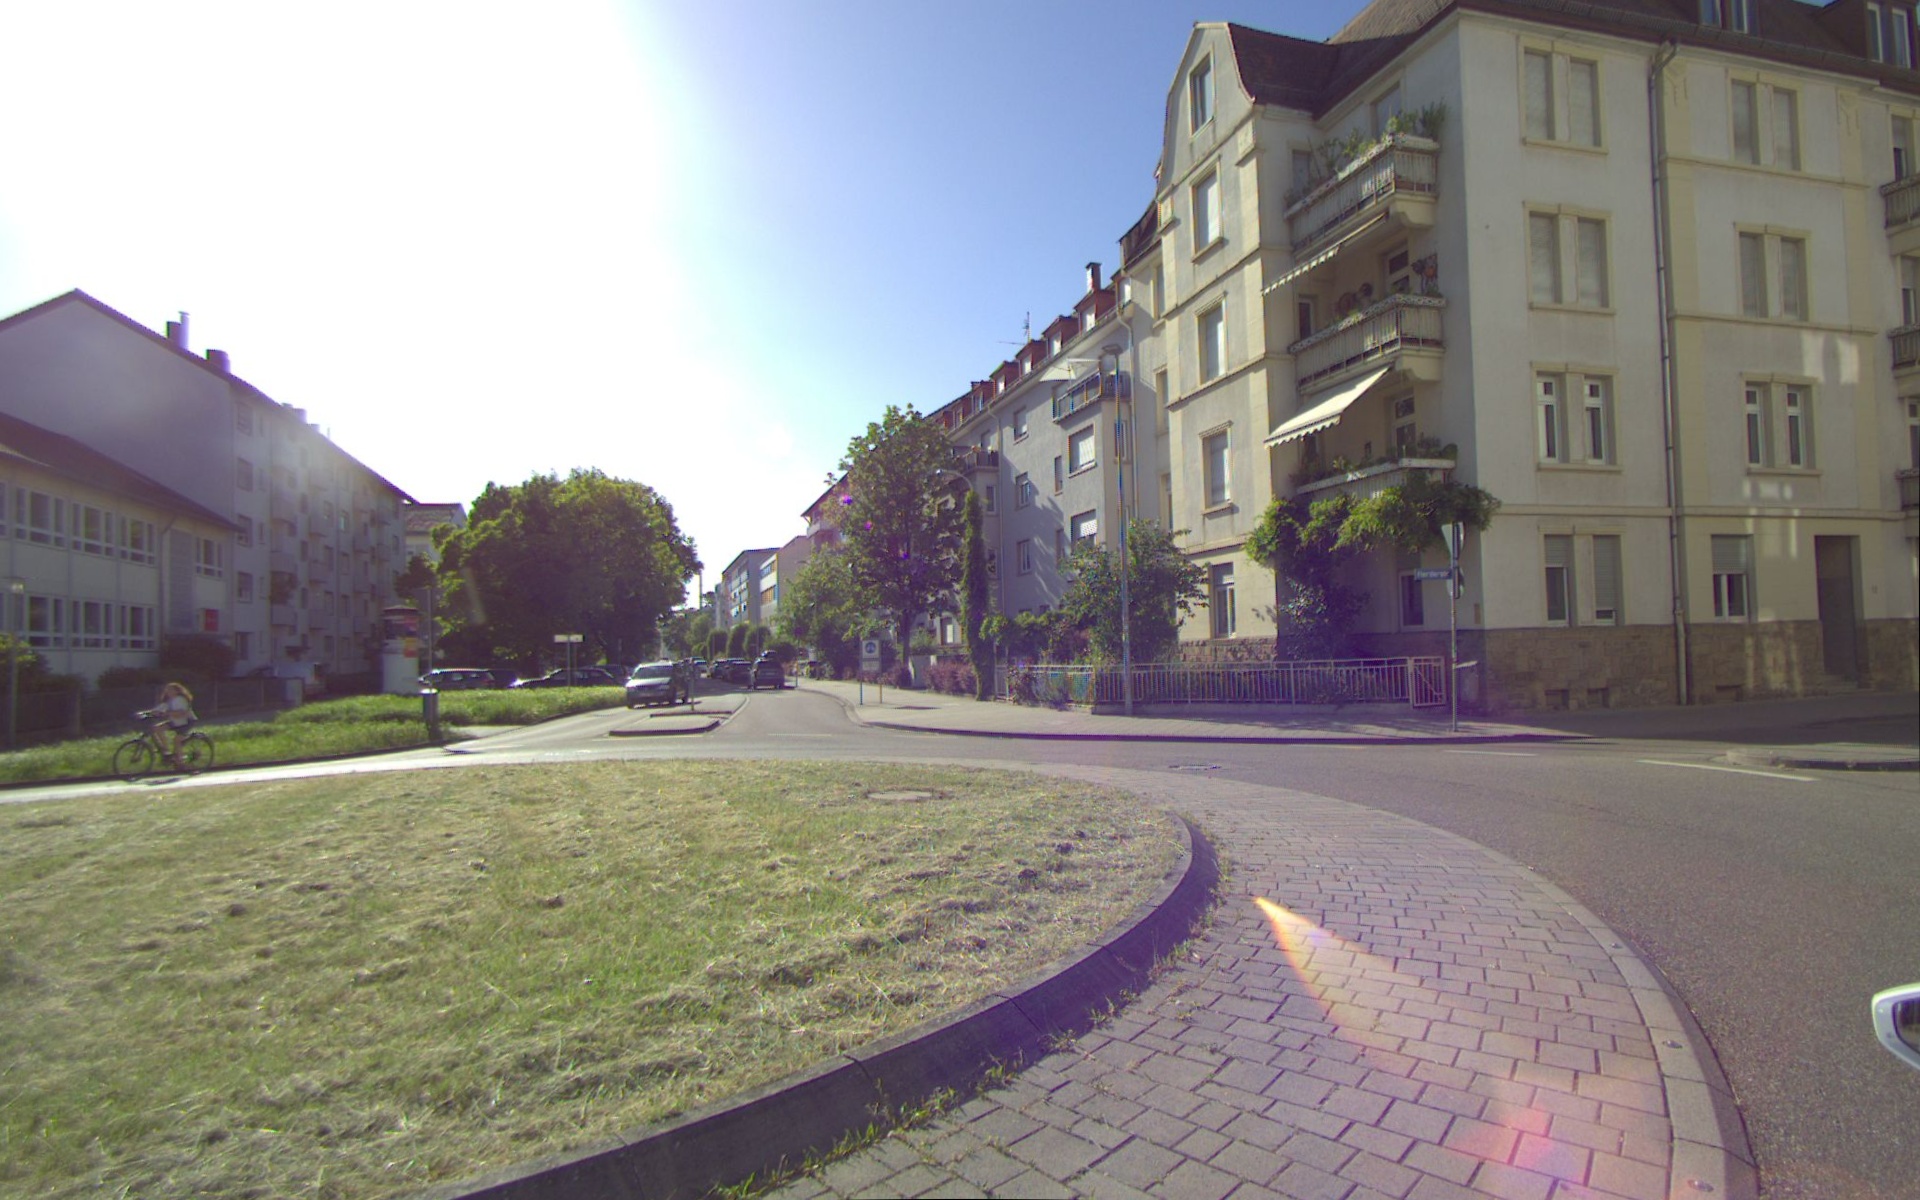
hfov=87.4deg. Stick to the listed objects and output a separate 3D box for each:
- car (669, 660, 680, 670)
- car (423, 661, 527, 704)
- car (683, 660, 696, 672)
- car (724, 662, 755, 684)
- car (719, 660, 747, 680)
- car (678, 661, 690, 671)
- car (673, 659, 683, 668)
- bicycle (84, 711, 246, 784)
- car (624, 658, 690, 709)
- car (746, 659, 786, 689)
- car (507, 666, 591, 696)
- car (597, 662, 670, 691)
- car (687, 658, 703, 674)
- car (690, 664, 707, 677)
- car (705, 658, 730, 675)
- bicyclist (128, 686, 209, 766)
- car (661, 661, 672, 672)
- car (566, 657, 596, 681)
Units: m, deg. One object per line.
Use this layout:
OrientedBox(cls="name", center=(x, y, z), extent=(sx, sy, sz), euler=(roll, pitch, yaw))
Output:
OrientedBox(cls="car", center=(-51.482, 11.687, 181.310), extent=(1.821, 1.693, 3.988), euler=(-1, -3, -16))
OrientedBox(cls="car", center=(-22.413, 3.799, 46.555), extent=(3.928, 1.795, 1.997), euler=(-1, -3, -10))
OrientedBox(cls="car", center=(-40.143, 9.760, 149.103), extent=(1.821, 1.693, 3.988), euler=(-1, -3, -16))
OrientedBox(cls="car", center=(-15.130, 4.973, 68.804), extent=(1.821, 1.398, 3.988), euler=(-1, -3, -16))
OrientedBox(cls="car", center=(-16.953, 5.212, 74.935), extent=(1.821, 1.398, 3.988), euler=(-1, -3, -16))
OrientedBox(cls="car", center=(-44.872, 10.728, 163.400), extent=(1.821, 1.693, 3.988), euler=(-1, -3, -16))
OrientedBox(cls="car", center=(-53.969, 12.099, 192.210), extent=(1.821, 1.693, 3.988), euler=(-1, -3, -16))
OrientedBox(cls="bicycle", center=(-14.081, 2.587, 17.884), extent=(0.795, 1.027, 2.211), euler=(-2, -2, 17))
OrientedBox(cls="car", center=(-11.608, 3.147, 38.733), extent=(1.847, 1.718, 4.268), euler=(-2, -2, -9))
OrientedBox(cls="car", center=(-10.942, 4.132, 56.401), extent=(1.821, 1.559, 3.988), euler=(-1, -3, -16))
OrientedBox(cls="car", center=(-22.518, 4.436, 55.154), extent=(3.928, 1.483, 1.997), euler=(-1, -3, -10))
OrientedBox(cls="car", center=(-19.063, 4.452, 58.622), extent=(3.942, 1.505, 1.842), euler=(-1, -3, -23))
OrientedBox(cls="car", center=(-34.035, 8.441, 129.072), extent=(1.821, 1.929, 3.988), euler=(-1, -3, -16))
OrientedBox(cls="car", center=(-30.785, 8.241, 118.002), extent=(1.821, 1.398, 3.988), euler=(-1, -3, -16))
OrientedBox(cls="car", center=(-20.634, 5.632, 85.375), extent=(1.821, 1.398, 3.988), euler=(-1, -3, -16))
OrientedBox(cls="bicyclist", center=(-14.084, 2.220, 17.881), extent=(0.795, 1.329, 0.826), euler=(-2, -2, 17))
OrientedBox(cls="car", center=(-49.918, 11.339, 170.954), extent=(1.821, 1.693, 3.988), euler=(-1, -3, -16))
OrientedBox(cls="car", center=(-26.361, 4.806, 69.730), extent=(1.825, 1.542, 3.980), euler=(-1, -3, -23))
